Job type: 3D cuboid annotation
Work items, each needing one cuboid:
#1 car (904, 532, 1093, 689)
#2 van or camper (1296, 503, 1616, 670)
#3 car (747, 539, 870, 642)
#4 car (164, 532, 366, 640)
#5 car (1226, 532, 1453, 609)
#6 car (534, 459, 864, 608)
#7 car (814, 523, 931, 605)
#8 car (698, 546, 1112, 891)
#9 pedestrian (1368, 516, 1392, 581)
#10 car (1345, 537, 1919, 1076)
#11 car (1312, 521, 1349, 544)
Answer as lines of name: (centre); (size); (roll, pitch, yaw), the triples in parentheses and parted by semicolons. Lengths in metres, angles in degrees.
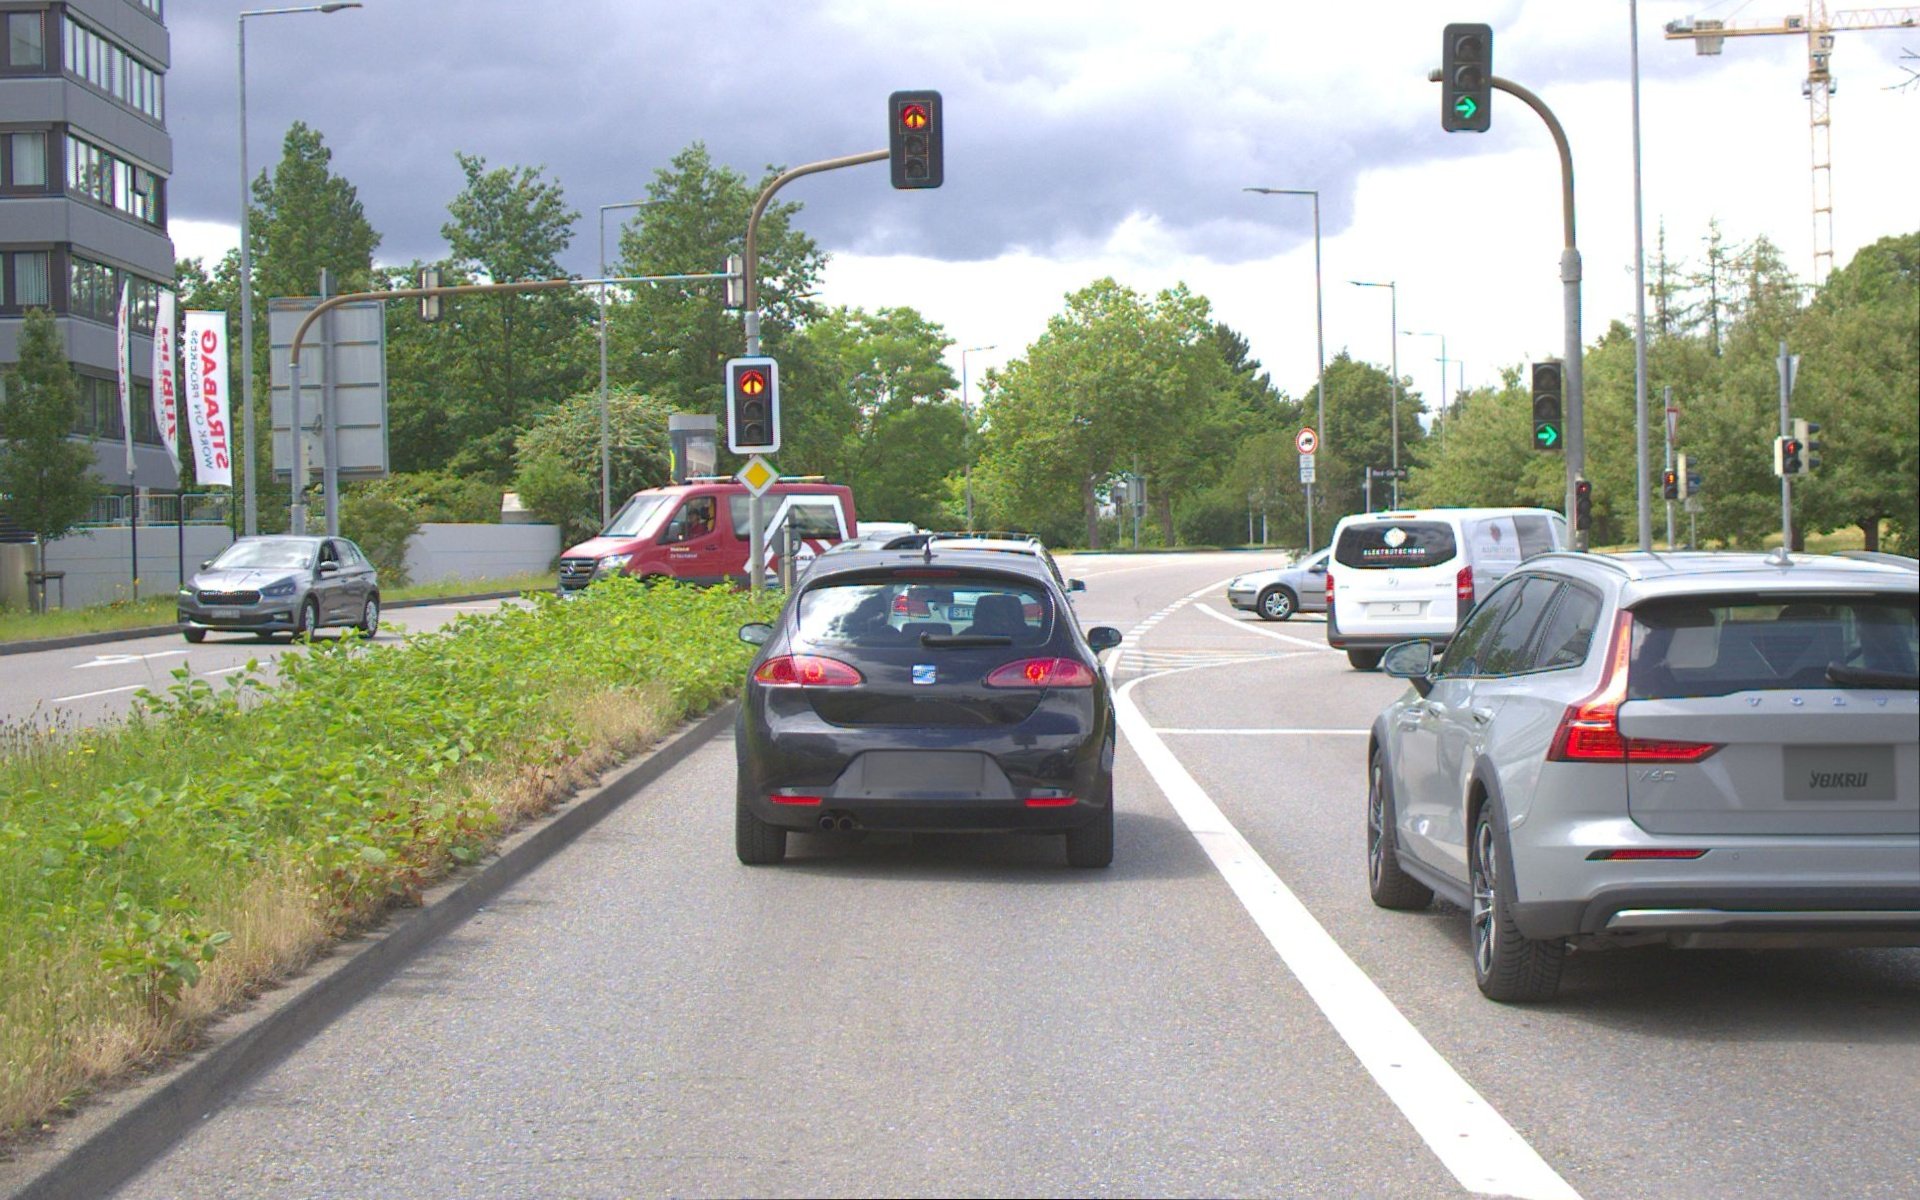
car: (0.344, 0.063, 35.296); (1.773, 1.486, 3.583); (-1, 1, -2)
van or camper: (5.942, -0.202, 40.664); (1.997, 1.853, 4.935); (0, 1, 31)
car: (-2.256, -0.180, 52.055); (1.678, 1.477, 4.000); (0, 1, 0)
car: (-9.398, -0.225, 46.768); (1.932, 1.393, 4.000); (0, 1, 0)
car: (6.817, -0.544, 62.101); (3.987, 1.349, 2.000); (0, 1, 4)
car: (-4.371, -1.132, 58.003); (5.224, 2.404, 2.000); (-1, 1, -34)
car: (-1.719, -0.738, 68.996); (1.994, 1.590, 4.000); (0, 1, 4)
car: (-0.225, 0.483, 16.653); (1.773, 1.447, 3.582); (1, 1, 1)
pedestrian: (11.284, -1.387, 92.378); (0.559, 1.720, 0.588); (1, 1, 2)
car: (2.534, 0.561, 12.194); (1.863, 1.513, 4.446); (-1, 1, 1)
car: (21.968, -4.008, 203.887); (1.994, 1.347, 3.999); (0, 1, 9)
